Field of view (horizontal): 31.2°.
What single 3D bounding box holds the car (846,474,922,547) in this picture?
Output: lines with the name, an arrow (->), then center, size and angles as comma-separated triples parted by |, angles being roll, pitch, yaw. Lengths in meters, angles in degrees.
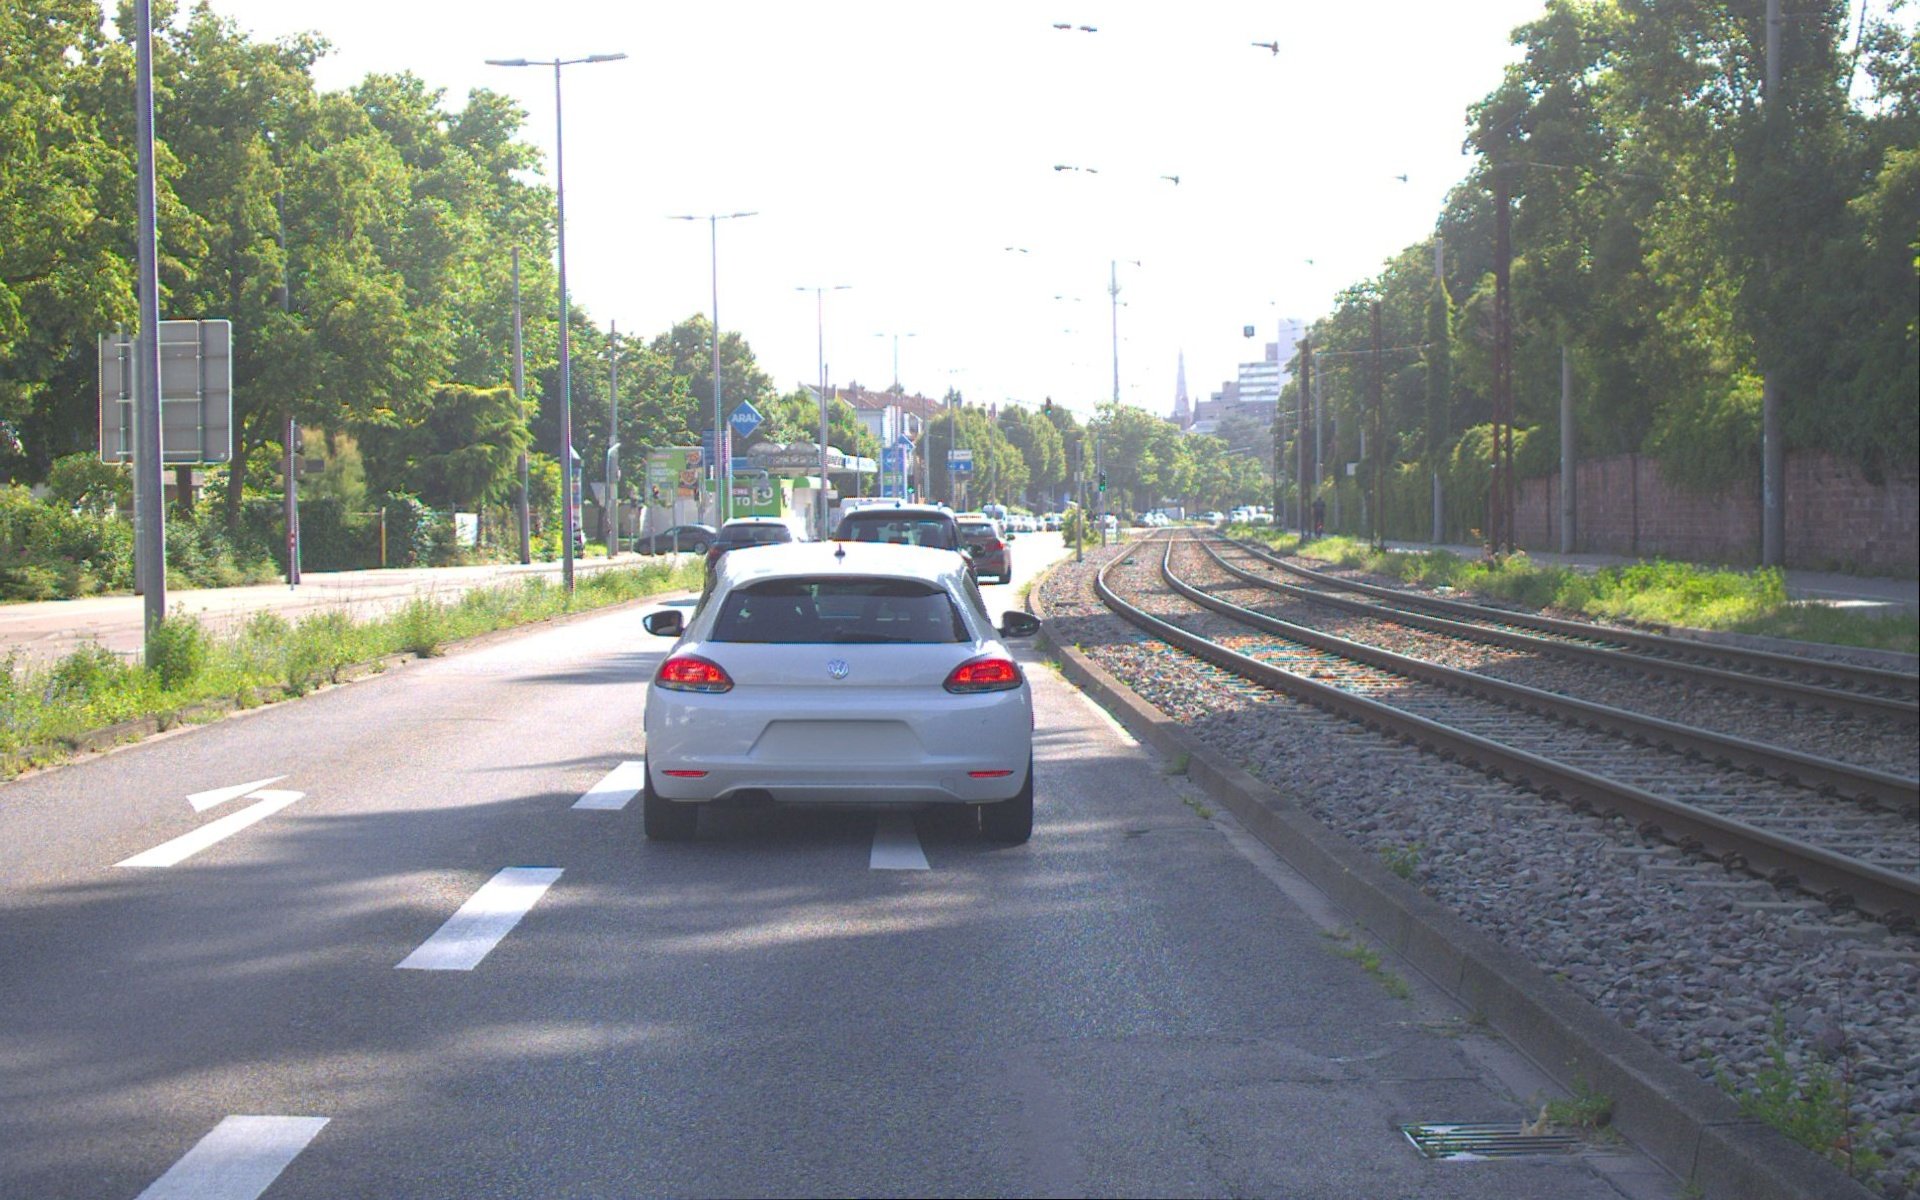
car -> -2.097, -2.487, 95.744 | 1.818, 1.956, 4.402 | -1, 1, 2

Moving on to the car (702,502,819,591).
car -> -3.464, -0.968, 60.279 | 1.760, 1.480, 4.645 | 1, 2, 0

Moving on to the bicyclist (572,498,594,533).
bicyclist -> -15.639, -3.516, 142.586 | 0.662, 1.447, 1.051 | -1, 1, 7

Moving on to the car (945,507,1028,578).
car -> 0.572, -1.271, 75.363 | 1.749, 1.480, 3.601 | 1, 2, 0

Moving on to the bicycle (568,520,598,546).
bicycle -> -15.623, -2.780, 142.596 | 0.662, 1.046, 2.580 | -1, 1, 7

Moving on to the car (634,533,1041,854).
car -> -0.543, 0.379, 16.964 | 1.781, 1.351, 3.601 | 1, 2, 0

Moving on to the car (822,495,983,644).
car -> -0.621, -0.384, 39.007 | 1.724, 1.587, 3.601 | 1, 2, 0
